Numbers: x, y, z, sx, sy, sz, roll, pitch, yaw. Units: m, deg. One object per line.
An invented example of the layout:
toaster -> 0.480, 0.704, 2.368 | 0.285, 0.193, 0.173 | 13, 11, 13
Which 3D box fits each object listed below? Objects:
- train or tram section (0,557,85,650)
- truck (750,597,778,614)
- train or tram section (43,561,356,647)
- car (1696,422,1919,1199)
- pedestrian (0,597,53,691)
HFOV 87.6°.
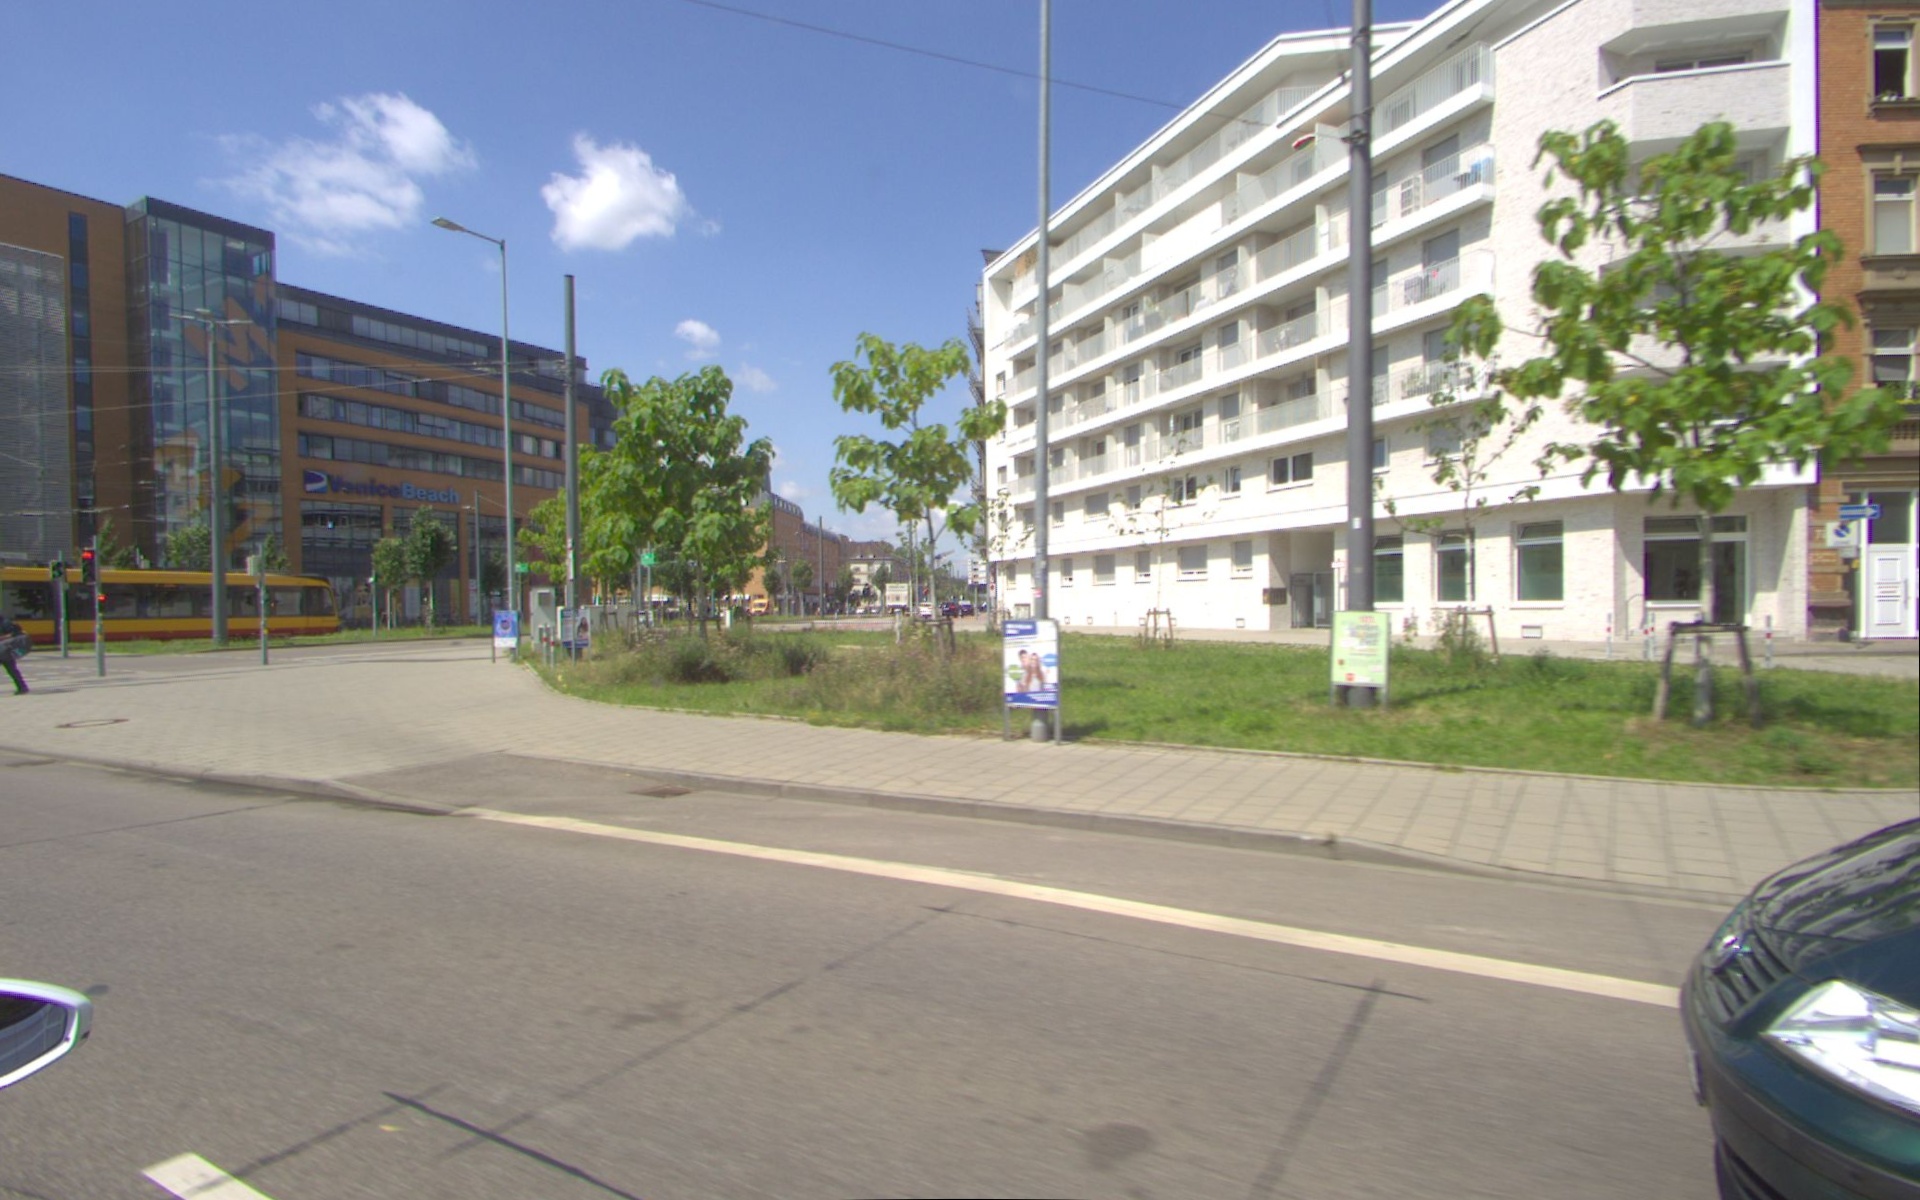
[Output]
train or tram section -> -39.611, 0.103, 37.315 | 3.007, 3.650, 10.989 | 0, -1, 11
truck -> -24.833, 0.699, 127.030 | 1.961, 2.113, 5.524 | 0, -1, 5
train or tram section -> -36.300, 0.305, 48.924 | 3.011, 3.668, 12.613 | 0, -1, 20
car -> 3.878, 0.597, 1.035 | 4.964, 1.779, 1.814 | -1, -1, 35
pedestrian -> -17.977, 0.823, 18.917 | 0.901, 1.725, 0.808 | -1, 1, 2
